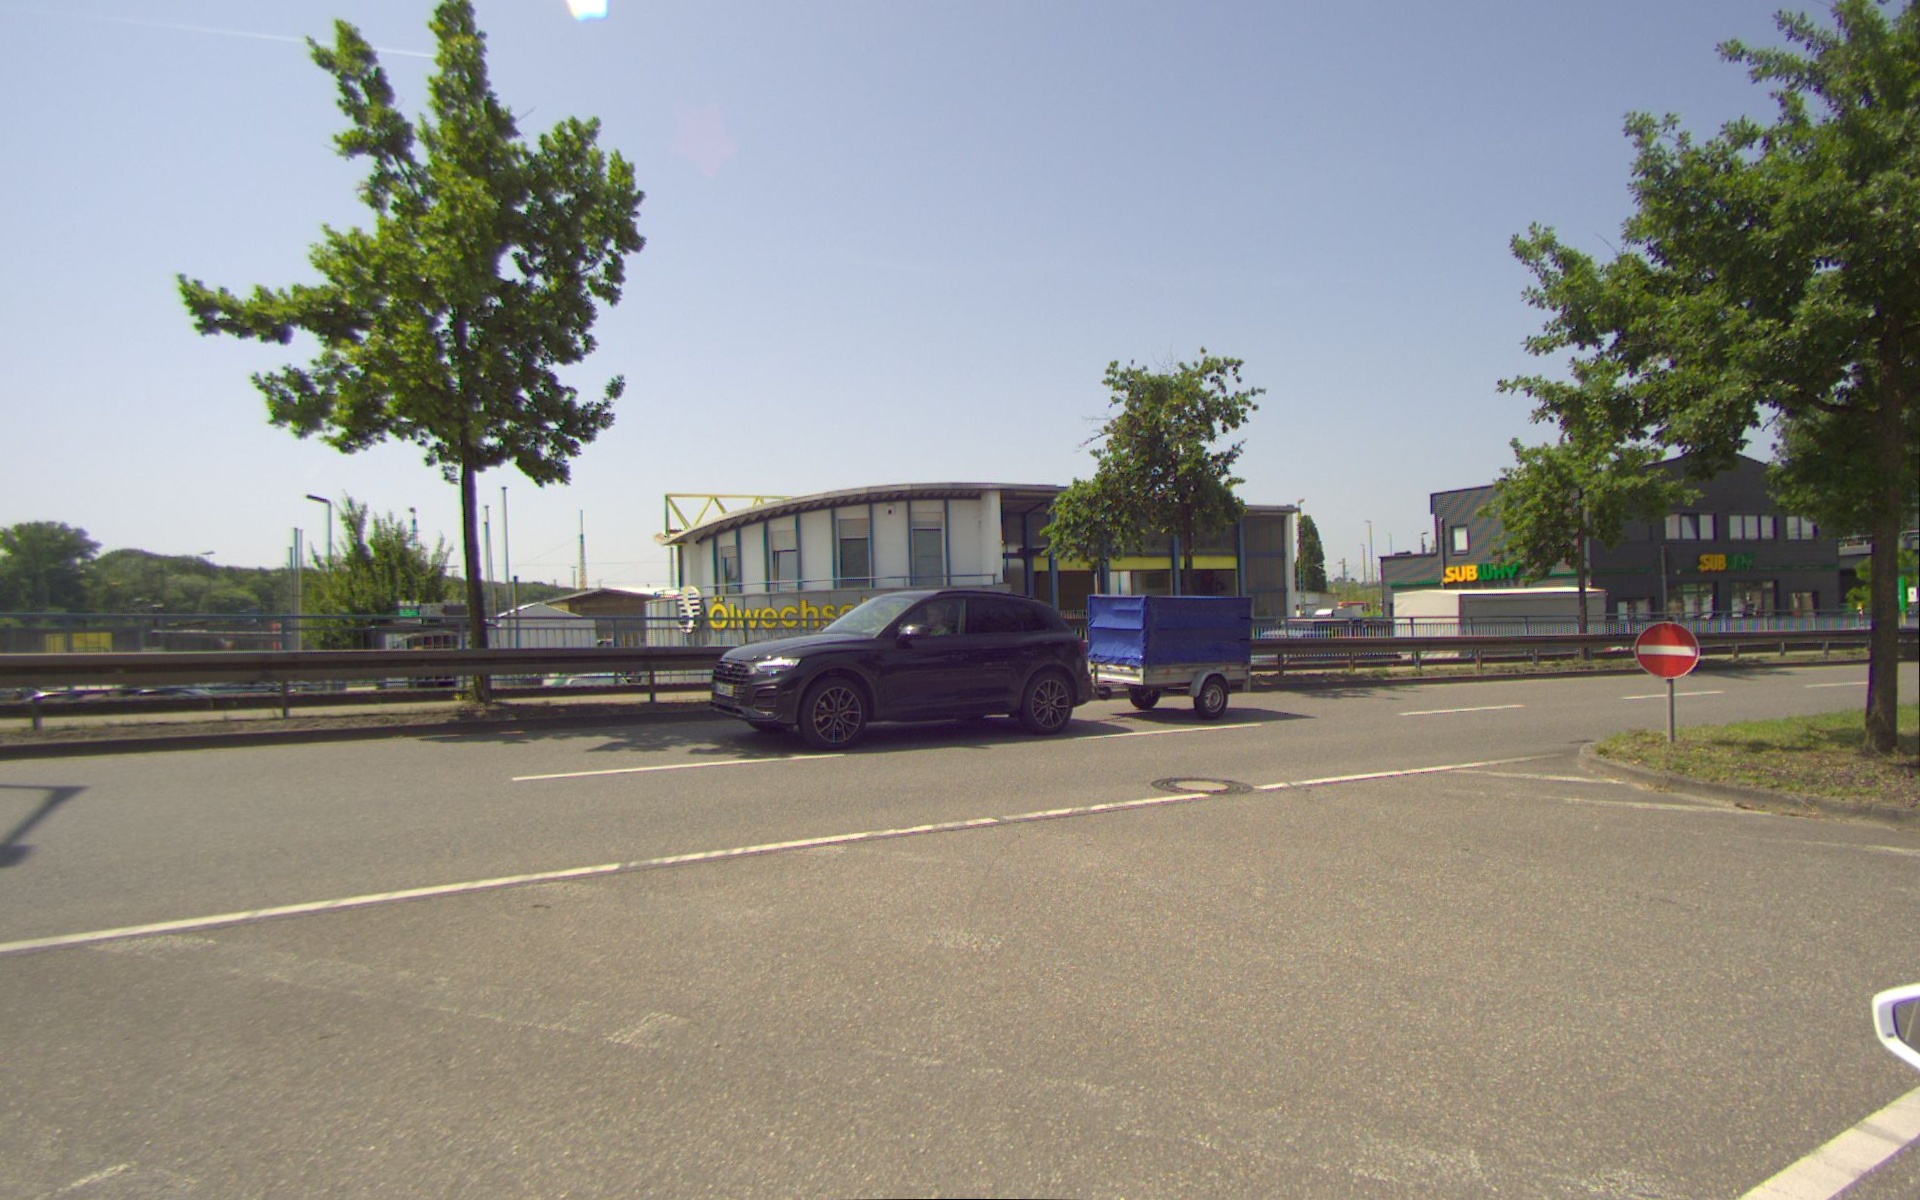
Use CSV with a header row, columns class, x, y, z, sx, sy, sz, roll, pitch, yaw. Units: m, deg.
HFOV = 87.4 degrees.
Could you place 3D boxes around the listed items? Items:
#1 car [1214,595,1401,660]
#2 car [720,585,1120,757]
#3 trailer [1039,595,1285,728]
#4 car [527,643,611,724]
class,x,y,z,sx,sy,sz,roll,pitch,yaw
car,9.151,0.749,26.437,4.575,1.589,1.893,0,-3,-24
car,-0.388,0.704,11.804,4.361,1.674,1.903,1,0,-34
trailer,2.840,0.777,13.963,3.274,1.637,1.495,1,0,-34
car,-11.592,2.372,29.620,1.974,2.040,3.973,0,-1,-27
